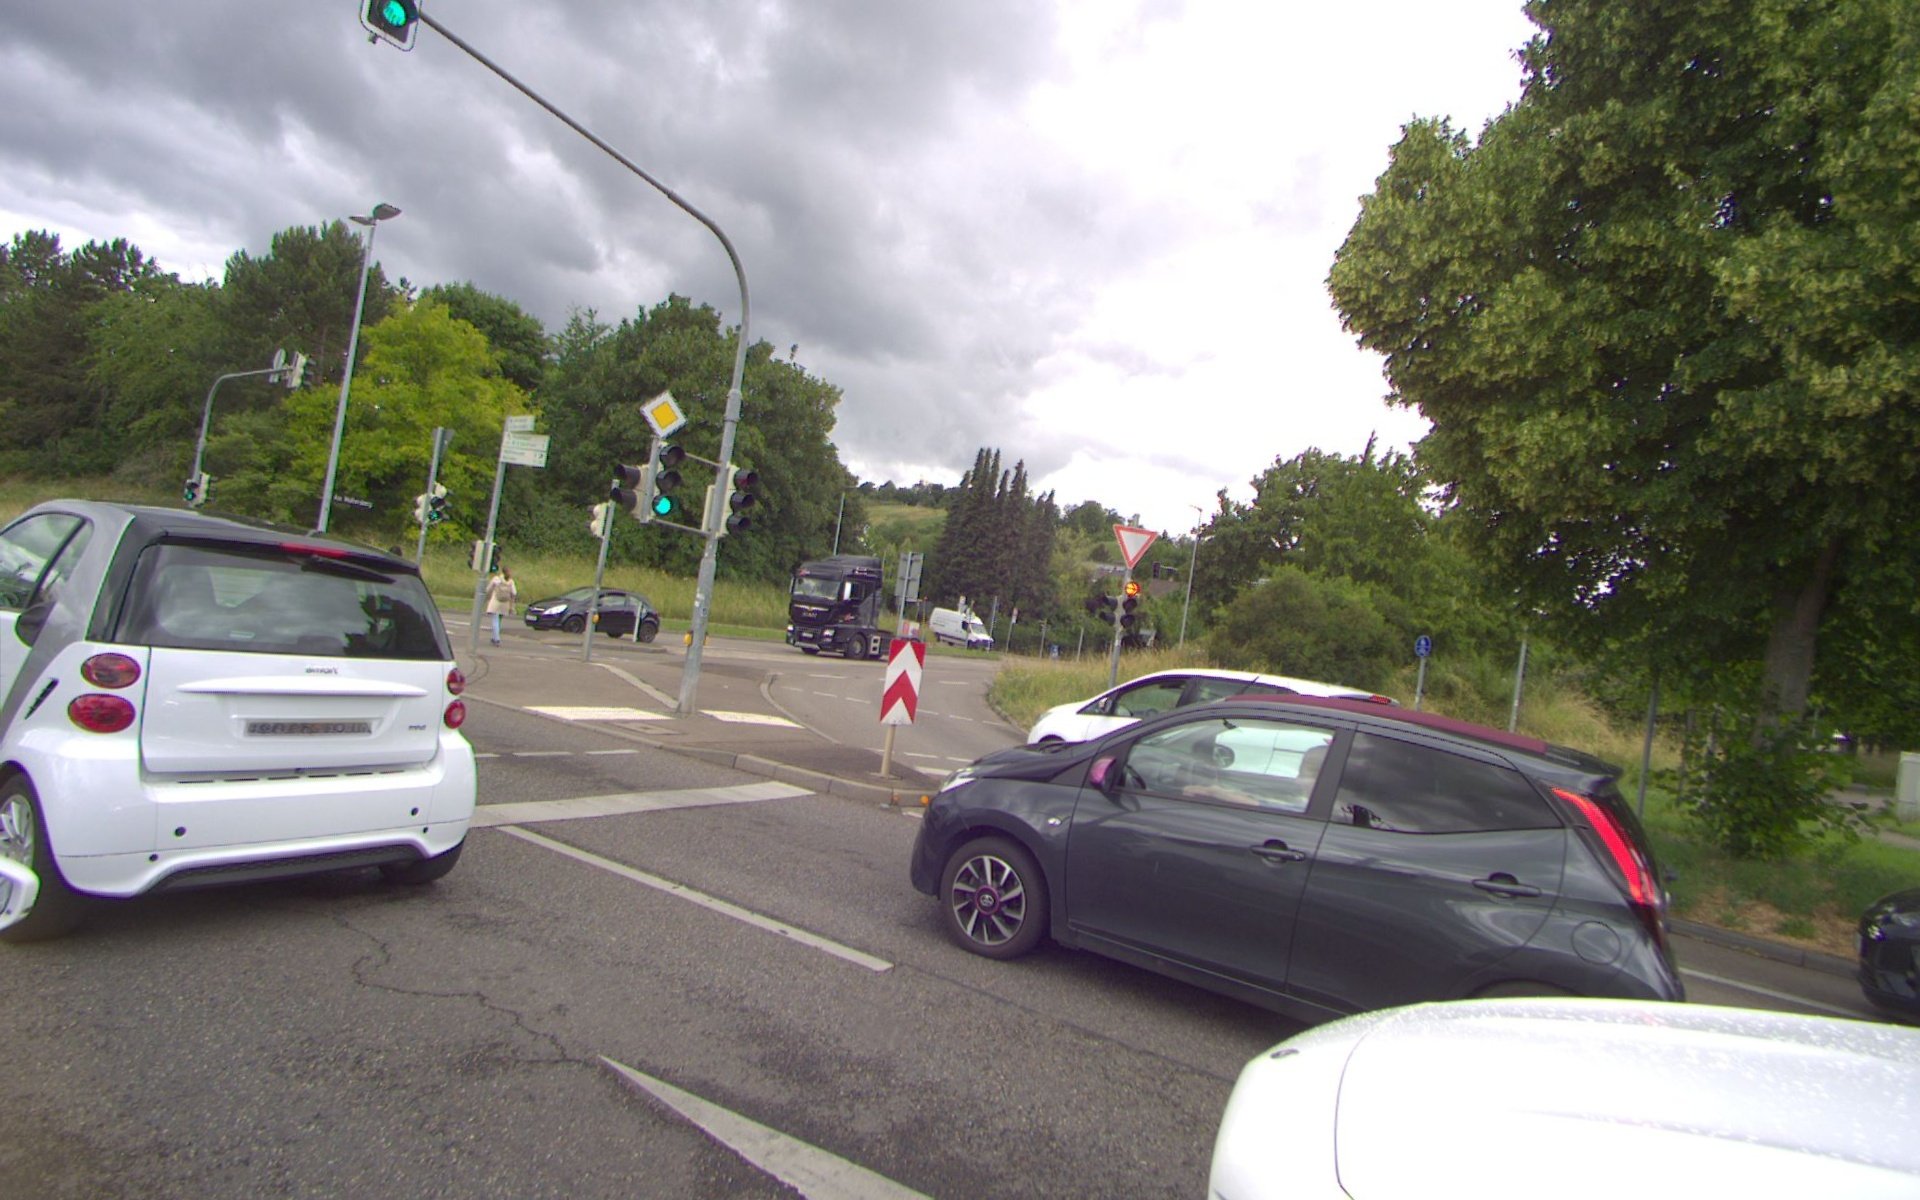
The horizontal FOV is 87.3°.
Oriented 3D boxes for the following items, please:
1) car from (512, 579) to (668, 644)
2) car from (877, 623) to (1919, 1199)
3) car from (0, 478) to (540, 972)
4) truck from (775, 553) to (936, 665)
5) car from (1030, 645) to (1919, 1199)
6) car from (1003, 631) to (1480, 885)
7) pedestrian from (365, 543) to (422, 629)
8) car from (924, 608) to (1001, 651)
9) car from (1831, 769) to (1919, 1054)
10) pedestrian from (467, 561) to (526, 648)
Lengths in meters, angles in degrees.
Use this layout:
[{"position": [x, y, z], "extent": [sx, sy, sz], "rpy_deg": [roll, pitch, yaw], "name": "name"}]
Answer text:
[{"position": [-10.561, 0.377, 28.966], "extent": [1.669, 1.353, 3.882], "rpy_deg": [6, -3, 34], "name": "car"}, {"position": [1.707, 1.101, 4.734], "extent": [3.816, 1.470, 1.616], "rpy_deg": [6, -2, 30], "name": "car"}, {"position": [-3.527, 0.361, 4.559], "extent": [2.721, 1.533, 1.595], "rpy_deg": [6, -2, 33], "name": "car"}, {"position": [-3.902, 0.457, 38.858], "extent": [2.648, 3.526, 6.006], "rpy_deg": [6, -2, 34], "name": "truck"}, {"position": [2.430, 1.107, 0.861], "extent": [4.454, 1.524, 1.848], "rpy_deg": [6, -2, 31], "name": "car"}, {"position": [2.591, 1.432, 10.239], "extent": [1.752, 1.673, 4.325], "rpy_deg": [10, -3, -37], "name": "car"}, {"position": [-11.742, -0.287, 20.846], "extent": [0.703, 1.681, 0.644], "rpy_deg": [6, -1, 39], "name": "pedestrian"}, {"position": [0.132, 2.236, 77.023], "extent": [5.744, 2.661, 1.992], "rpy_deg": [6, -2, 42], "name": "car"}, {"position": [7.126, 2.000, 5.376], "extent": [3.511, 1.524, 1.603], "rpy_deg": [6, -2, 38], "name": "car"}, {"position": [-9.232, 0.091, 20.055], "extent": [0.703, 1.630, 0.644], "rpy_deg": [6, -1, 37], "name": "pedestrian"}]
